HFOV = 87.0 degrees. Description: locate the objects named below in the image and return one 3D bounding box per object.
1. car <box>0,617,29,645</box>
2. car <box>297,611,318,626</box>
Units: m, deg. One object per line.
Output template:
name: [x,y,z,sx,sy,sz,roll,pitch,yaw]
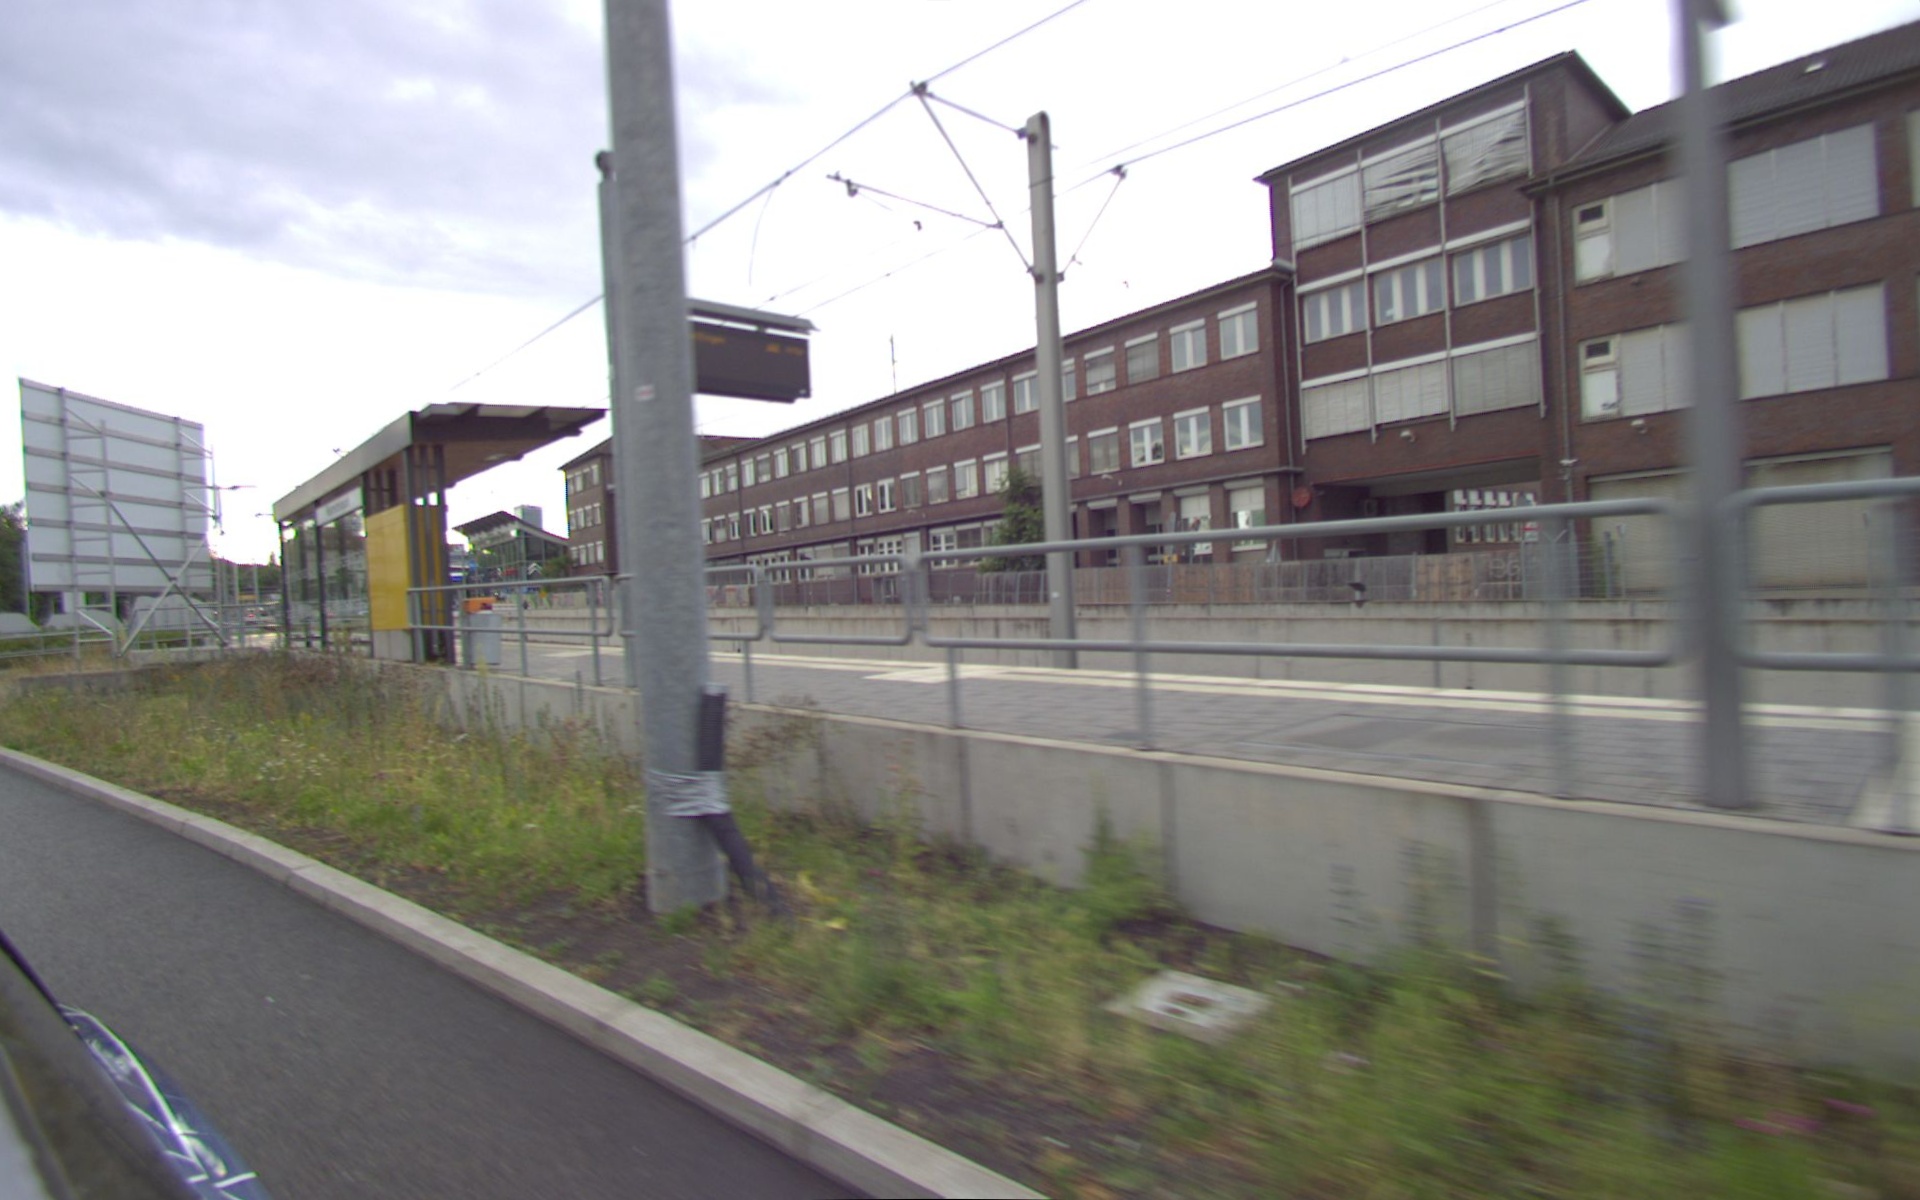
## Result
car: [-72.861,2.352,77.625,1.969,2.029,4.006,-1,0,-41]
car: [-95.069,2.715,147.375,1.969,2.029,4.005,-1,0,-42]
